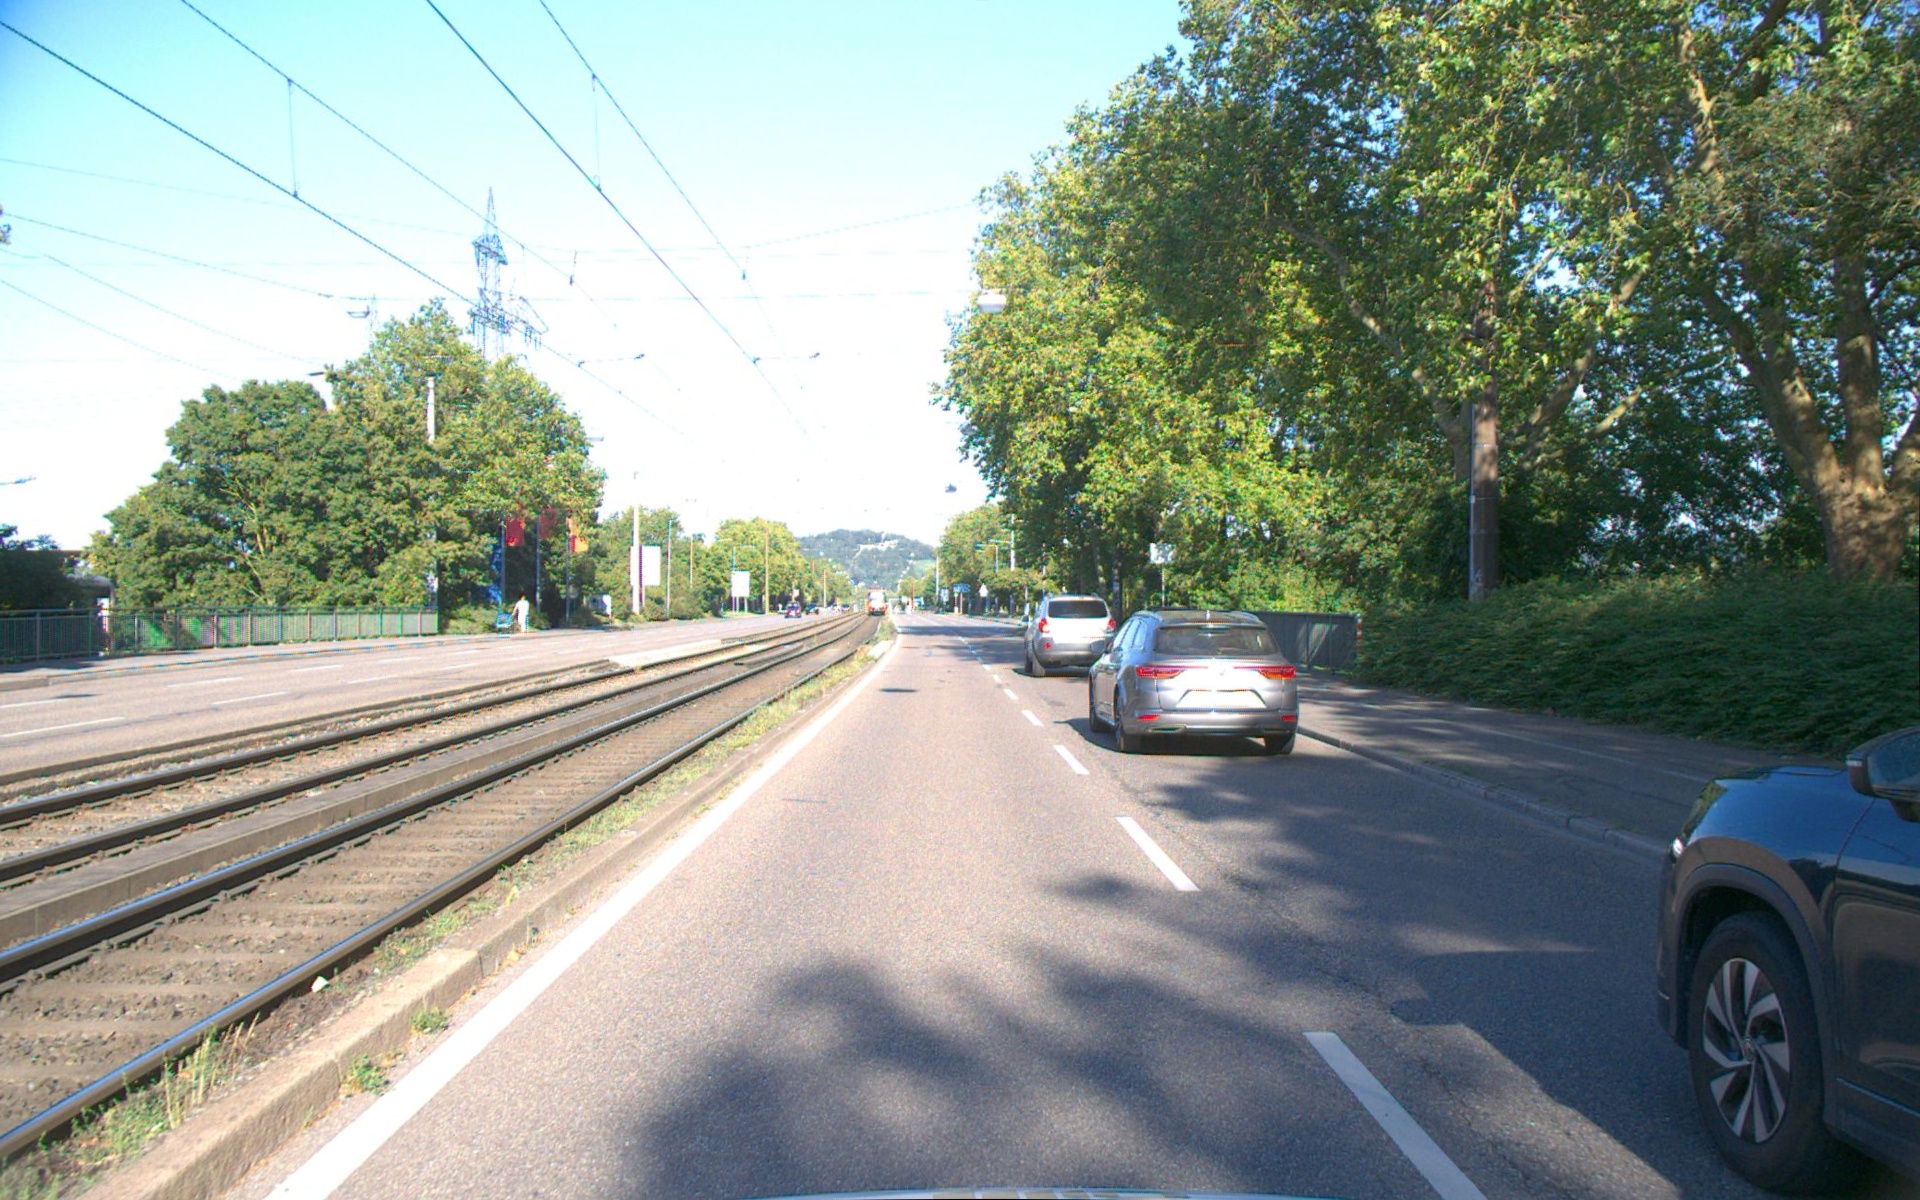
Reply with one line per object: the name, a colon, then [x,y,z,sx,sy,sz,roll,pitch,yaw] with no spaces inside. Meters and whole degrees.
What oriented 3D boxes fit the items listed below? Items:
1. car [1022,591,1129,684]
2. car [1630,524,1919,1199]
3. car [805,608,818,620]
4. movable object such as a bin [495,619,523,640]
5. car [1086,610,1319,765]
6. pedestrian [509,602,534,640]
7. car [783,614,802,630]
car: [2.442,0.764,35.846,1.845,1.827,3.998,2,0,-2]
car: [3.057,0.676,2.959,1.807,1.690,4.438,0,0,-2]
car: [-22.422,2.120,250.322,1.868,1.672,3.997,2,0,-4]
movable object such as a bin: [-21.430,1.399,78.609,0.709,0.978,1.101,2,-1,20]
car: [2.525,0.863,18.323,1.828,1.493,4.665,0,0,-1]
pedestrian: [-21.087,1.018,79.527,0.709,1.787,0.835,2,-2,20]
car: [-19.004,2.470,187.599,1.825,1.750,3.999,0,0,-2]
